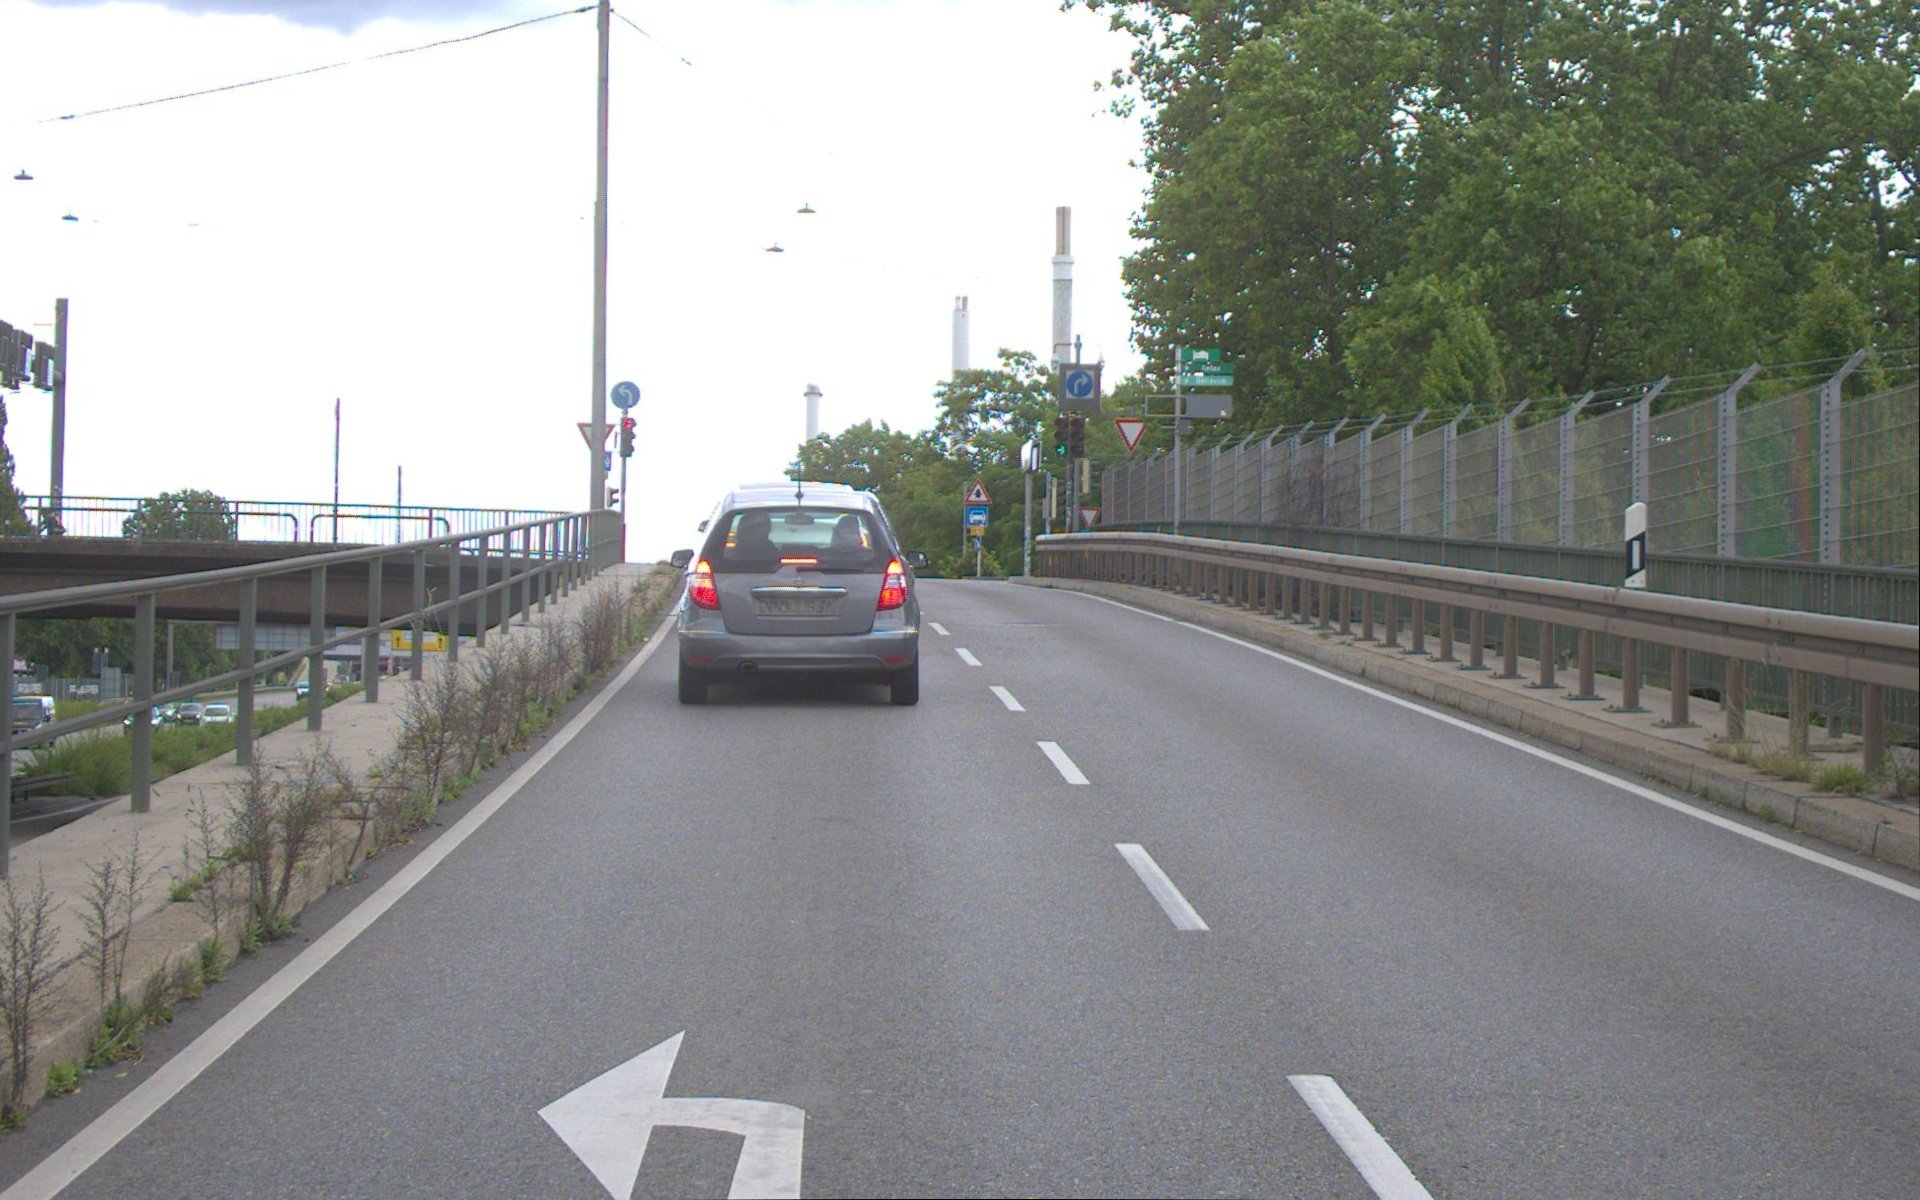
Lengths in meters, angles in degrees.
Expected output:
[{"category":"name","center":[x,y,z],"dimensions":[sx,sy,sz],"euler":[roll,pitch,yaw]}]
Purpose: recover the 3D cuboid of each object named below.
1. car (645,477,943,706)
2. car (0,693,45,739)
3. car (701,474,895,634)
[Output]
[{"category":"car","center":[-1.179,-0.050,26.161],"dimensions":[1.750,1.575,4.084],"euler":[1,0,4]},{"category":"car","center":[-44.832,5.490,162.658],"dimensions":[2.290,2.148,6.184],"euler":[0,-2,-9]},{"category":"car","center":[-1.744,-0.549,37.425],"dimensions":[1.993,1.597,4.001],"euler":[0,3,-2]}]
